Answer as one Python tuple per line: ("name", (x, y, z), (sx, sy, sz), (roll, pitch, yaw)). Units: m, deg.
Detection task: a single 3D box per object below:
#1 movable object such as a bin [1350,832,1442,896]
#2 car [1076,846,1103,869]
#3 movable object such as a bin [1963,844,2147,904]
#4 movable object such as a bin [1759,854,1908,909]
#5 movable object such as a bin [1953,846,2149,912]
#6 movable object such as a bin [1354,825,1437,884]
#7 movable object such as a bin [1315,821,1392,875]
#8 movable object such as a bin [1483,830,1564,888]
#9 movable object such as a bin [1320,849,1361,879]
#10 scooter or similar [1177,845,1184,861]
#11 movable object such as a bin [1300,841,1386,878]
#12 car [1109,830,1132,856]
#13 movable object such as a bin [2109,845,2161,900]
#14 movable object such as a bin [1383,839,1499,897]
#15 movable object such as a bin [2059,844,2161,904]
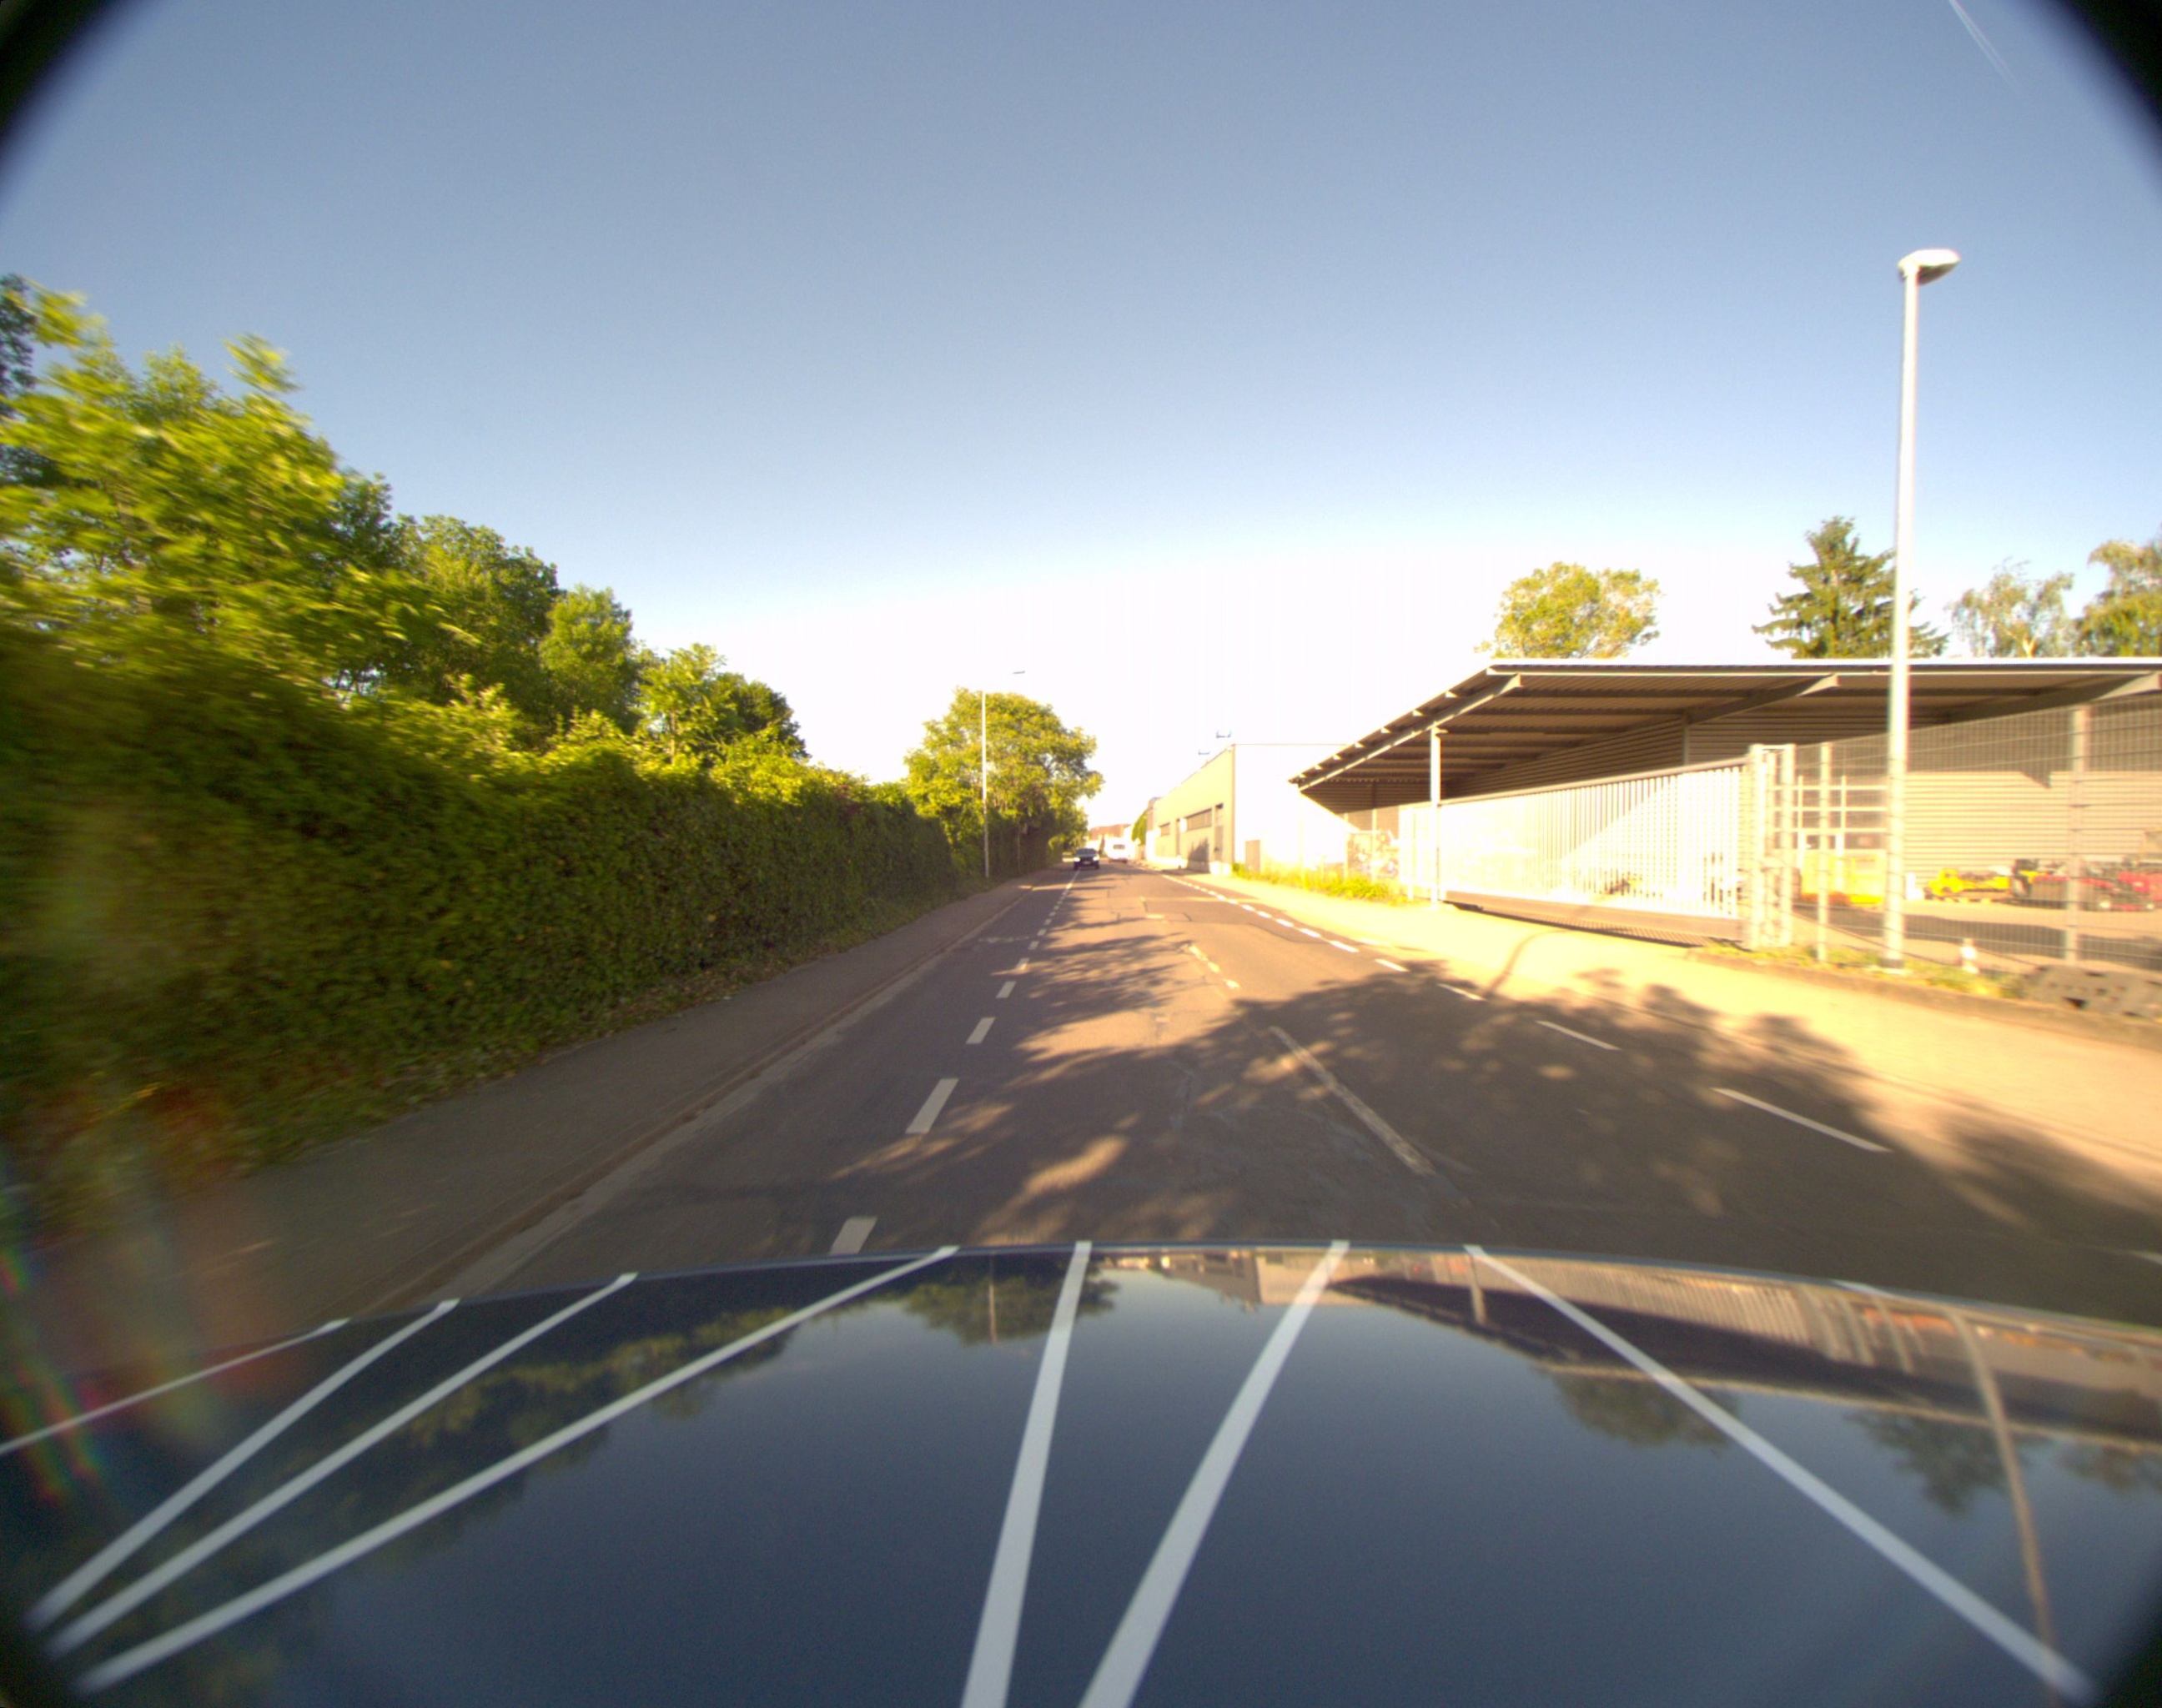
("movable object such as a bin", (11.184, 0.344, 26.955), (2.882, 2.136, 1.502), (0, 0, 28))
("car", (0.666, 0.256, 59.375), (2.037, 1.624, 4.612), (0, 1, 1))
("movable object such as a bin", (25.799, 0.487, 20.253), (1.331, 1.482, 2.757), (0, 1, 0))
("movable object such as a bin", (19.331, 0.674, 19.646), (1.170, 1.324, 2.635), (0, 0, -2))
("movable object such as a bin", (24.024, 0.564, 18.956), (1.331, 1.482, 2.757), (0, 1, 0))
("movable object such as a bin", (11.795, 0.009, 28.479), (2.793, 2.114, 1.387), (0, 0, 26))
("movable object such as a bin", (11.297, -0.220, 31.553), (2.765, 2.152, 1.526), (0, 0, 31))
("movable object such as a bin", (16.433, 0.171, 28.327), (1.580, 2.080, 2.478), (0, 0, -1))
("movable object such as a bin", (12.371, 0.472, 36.293), (1.473, 1.394, 1.325), (0, 0, -1))
("scooter or similar", (8.233, -0.075, 62.812), (0.417, 1.260, 1.059), (0, 1, 1))
("movable object such as a bin", (11.804, 0.231, 34.271), (3.396, 1.603, 1.629), (0, 0, 31))
("car", (4.401, -1.237, 85.715), (2.128, 2.764, 5.925), (2, 1, 0))
("movable object such as a bin", (30.028, 0.510, 20.313), (1.331, 1.482, 2.757), (0, 1, -1))
("movable object such as a bin", (11.627, 0.445, 24.644), (3.047, 1.824, 1.525), (0, 0, -1))
("movable object such as a bin", (27.856, 0.497, 19.738), (1.331, 1.482, 2.757), (0, 1, 0))
